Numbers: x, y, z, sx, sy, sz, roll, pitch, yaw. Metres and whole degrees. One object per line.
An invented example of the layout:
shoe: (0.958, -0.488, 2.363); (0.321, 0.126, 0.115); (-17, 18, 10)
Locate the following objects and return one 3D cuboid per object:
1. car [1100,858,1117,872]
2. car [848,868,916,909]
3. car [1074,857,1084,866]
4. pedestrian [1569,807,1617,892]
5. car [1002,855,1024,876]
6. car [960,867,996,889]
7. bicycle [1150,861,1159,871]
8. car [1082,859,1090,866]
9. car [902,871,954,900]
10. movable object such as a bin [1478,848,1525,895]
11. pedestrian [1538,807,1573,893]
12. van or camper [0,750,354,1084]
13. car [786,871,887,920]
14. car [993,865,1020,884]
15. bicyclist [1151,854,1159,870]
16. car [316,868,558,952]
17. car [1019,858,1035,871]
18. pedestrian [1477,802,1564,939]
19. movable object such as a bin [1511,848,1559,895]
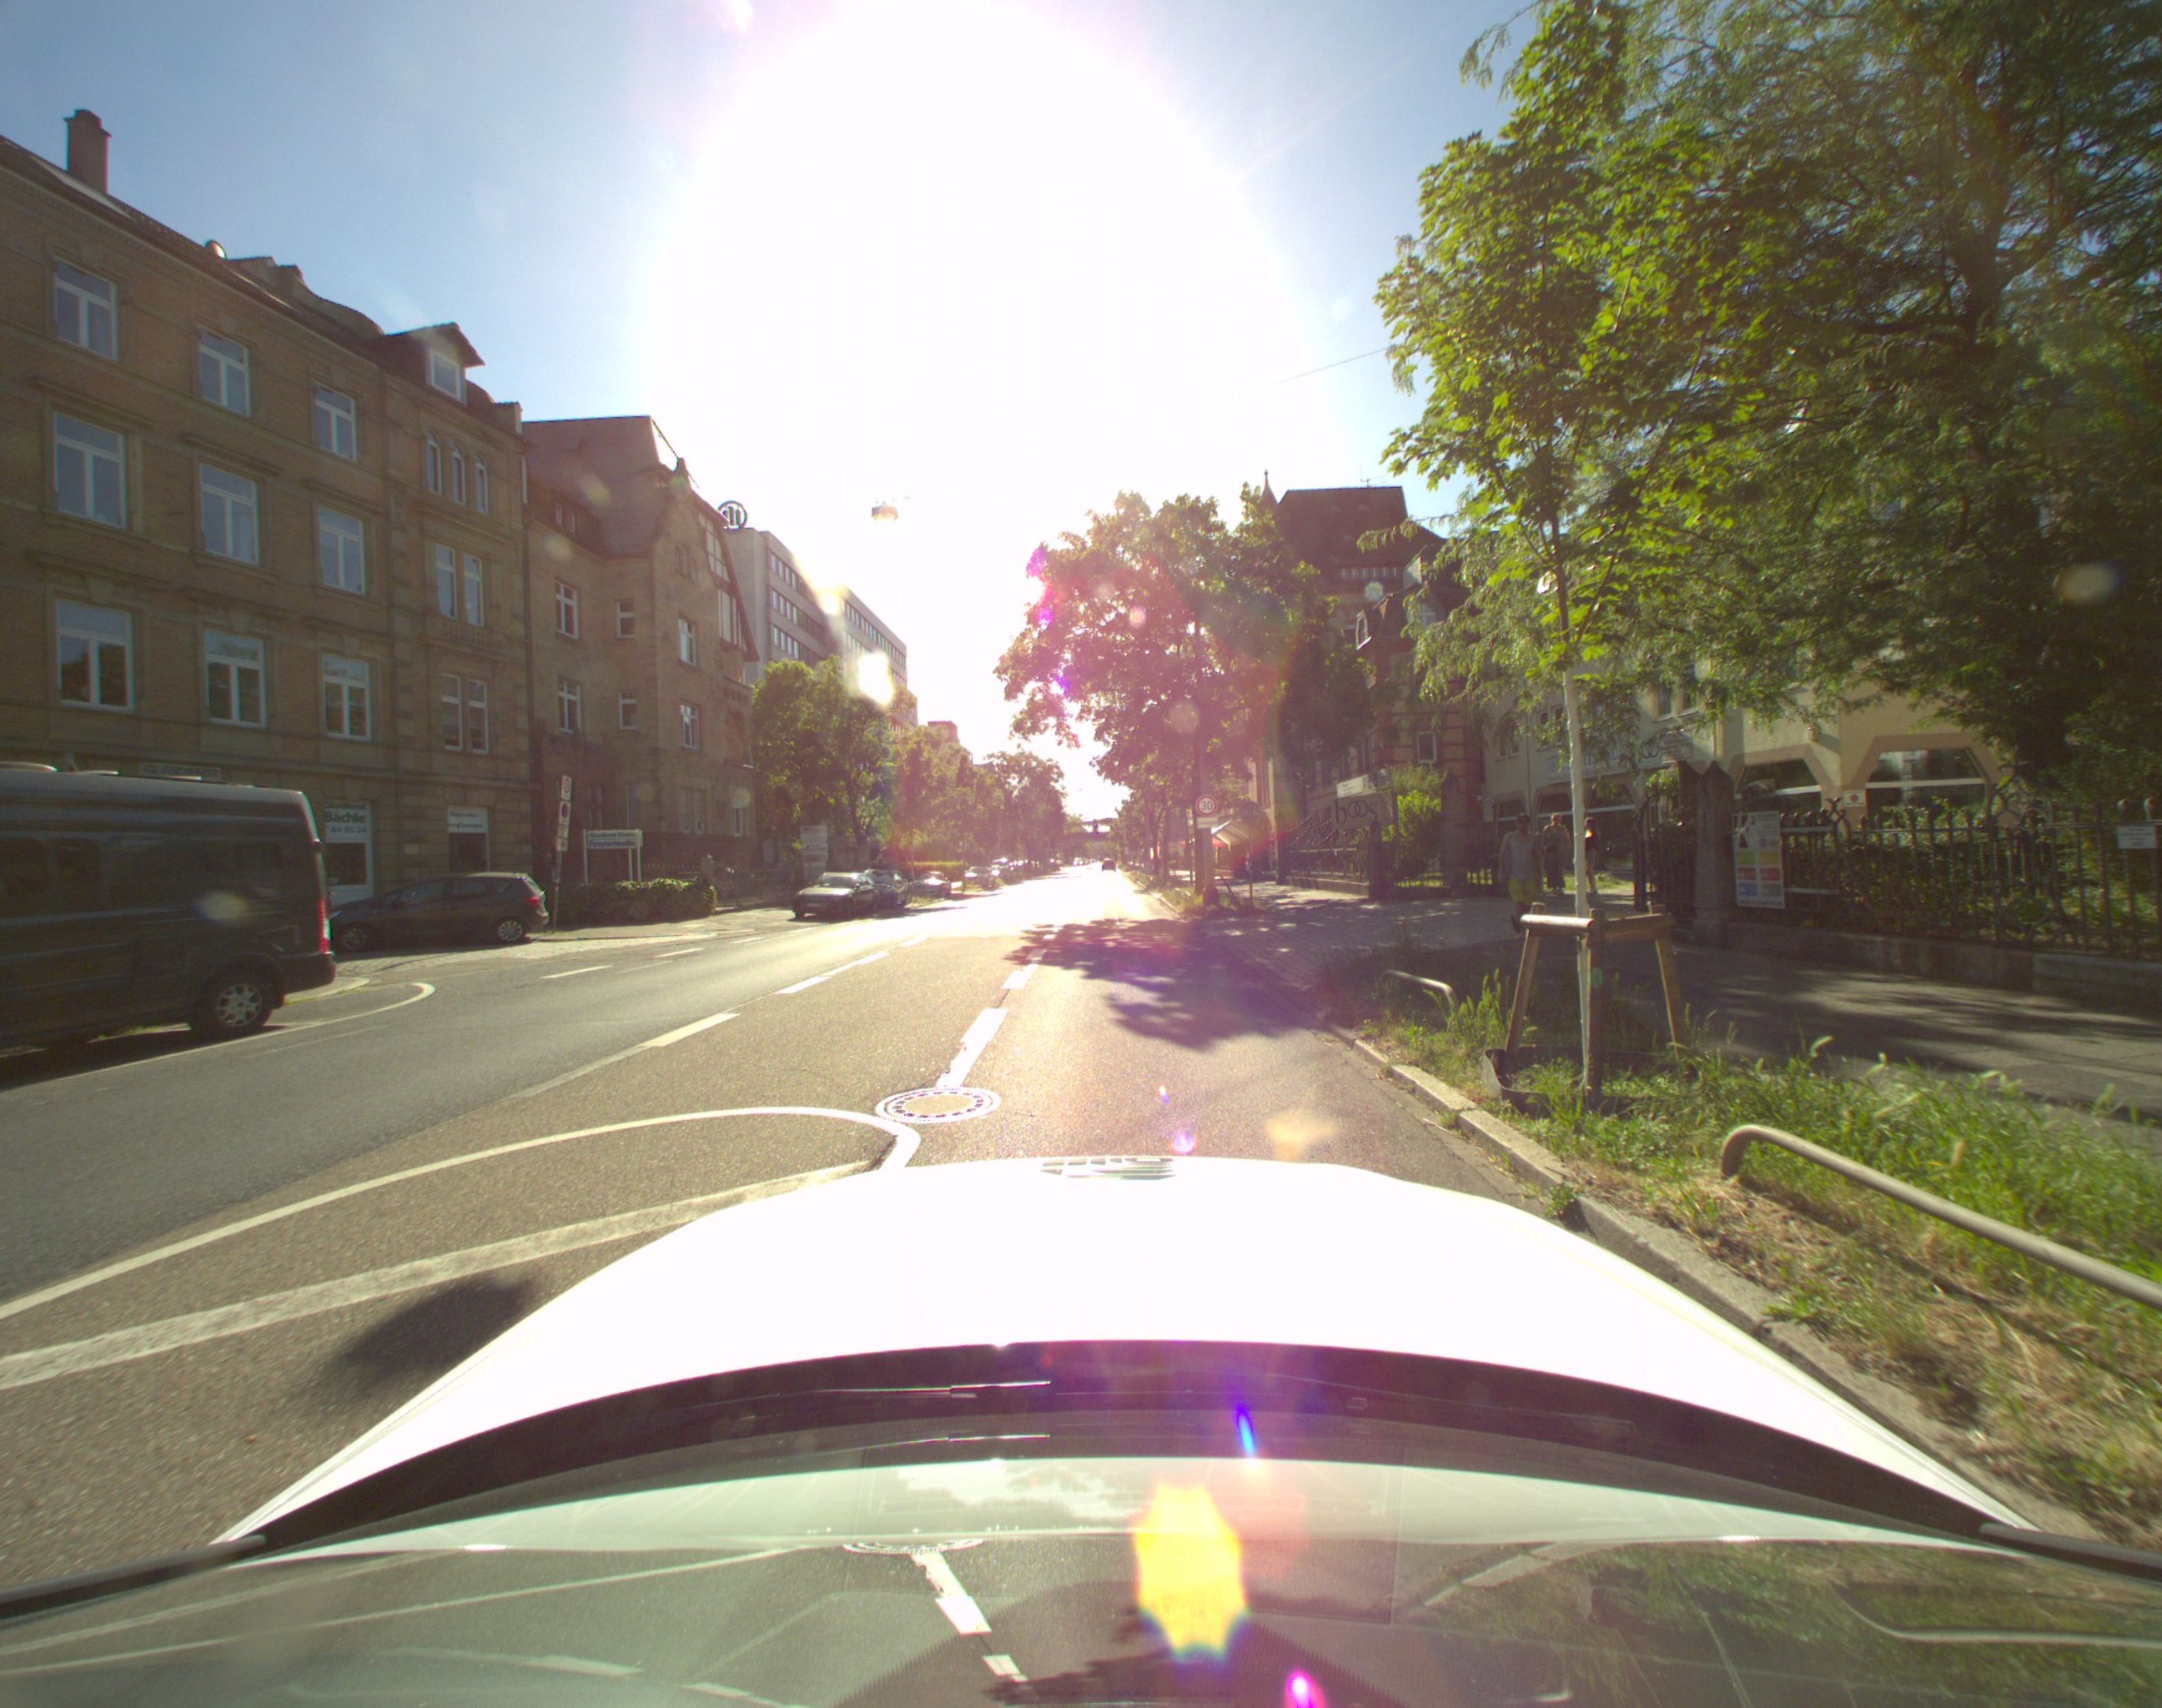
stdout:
car: (3.348, 1.326, 99.571); (1.978, 1.600, 4.140); (-2, 0, 0)
car: (-8.103, 1.367, 33.565); (1.852, 1.494, 4.700); (1, 0, -3)
car: (-0.394, 1.513, 171.898); (1.850, 1.825, 4.610); (-4, 0, 0)
pedestrian: (10.593, -0.088, 16.857); (0.537, 1.709, 0.514); (-4, 0, -6)
car: (-7.547, 1.254, 90.723); (1.975, 2.076, 5.194); (-4, 0, -1)
car: (-7.197, 1.641, 57.226); (1.680, 1.383, 4.196); (-2, 0, 4)
bicycle: (7.454, 1.231, 82.275); (0.683, 1.027, 2.096); (-2, -1, 1)
car: (1.356, 2.229, 205.747); (1.849, 1.568, 4.716); (-4, 0, 1)
car: (-7.611, 1.556, 40.943); (1.672, 1.255, 4.017); (-2, 0, 2)
movable object such as a bin: (9.283, 0.385, 17.992); (0.622, 0.965, 0.667); (-5, 0, 1)
pedestrian: (10.089, -0.087, 17.319); (0.536, 1.778, 0.536); (-4, 0, 29)
van or camper: (-9.972, 0.559, 6.752); (2.208, 2.739, 6.090); (-2, 0, 1)
car: (-8.338, 1.366, 28.213); (1.848, 1.427, 4.723); (1, 0, 2)
car: (-6.255, 1.717, 68.643); (1.705, 1.458, 4.075); (-2, 0, 3)
bicyclist: (7.454, 0.810, 82.308); (0.698, 1.599, 0.955); (-2, -1, 0)
car: (-14.572, 1.194, 18.802); (4.158, 1.670, 1.980); (0, 1, -32)
car: (-7.796, 1.485, 117.156); (1.849, 1.850, 4.562); (-2, 0, 1)
pedestrian: (6.118, 0.225, 11.384); (0.742, 1.787, 0.814); (-6, 0, 15)
movable object such as a bin: (9.999, 0.374, 17.941); (0.622, 0.965, 0.667); (-5, 0, 1)
